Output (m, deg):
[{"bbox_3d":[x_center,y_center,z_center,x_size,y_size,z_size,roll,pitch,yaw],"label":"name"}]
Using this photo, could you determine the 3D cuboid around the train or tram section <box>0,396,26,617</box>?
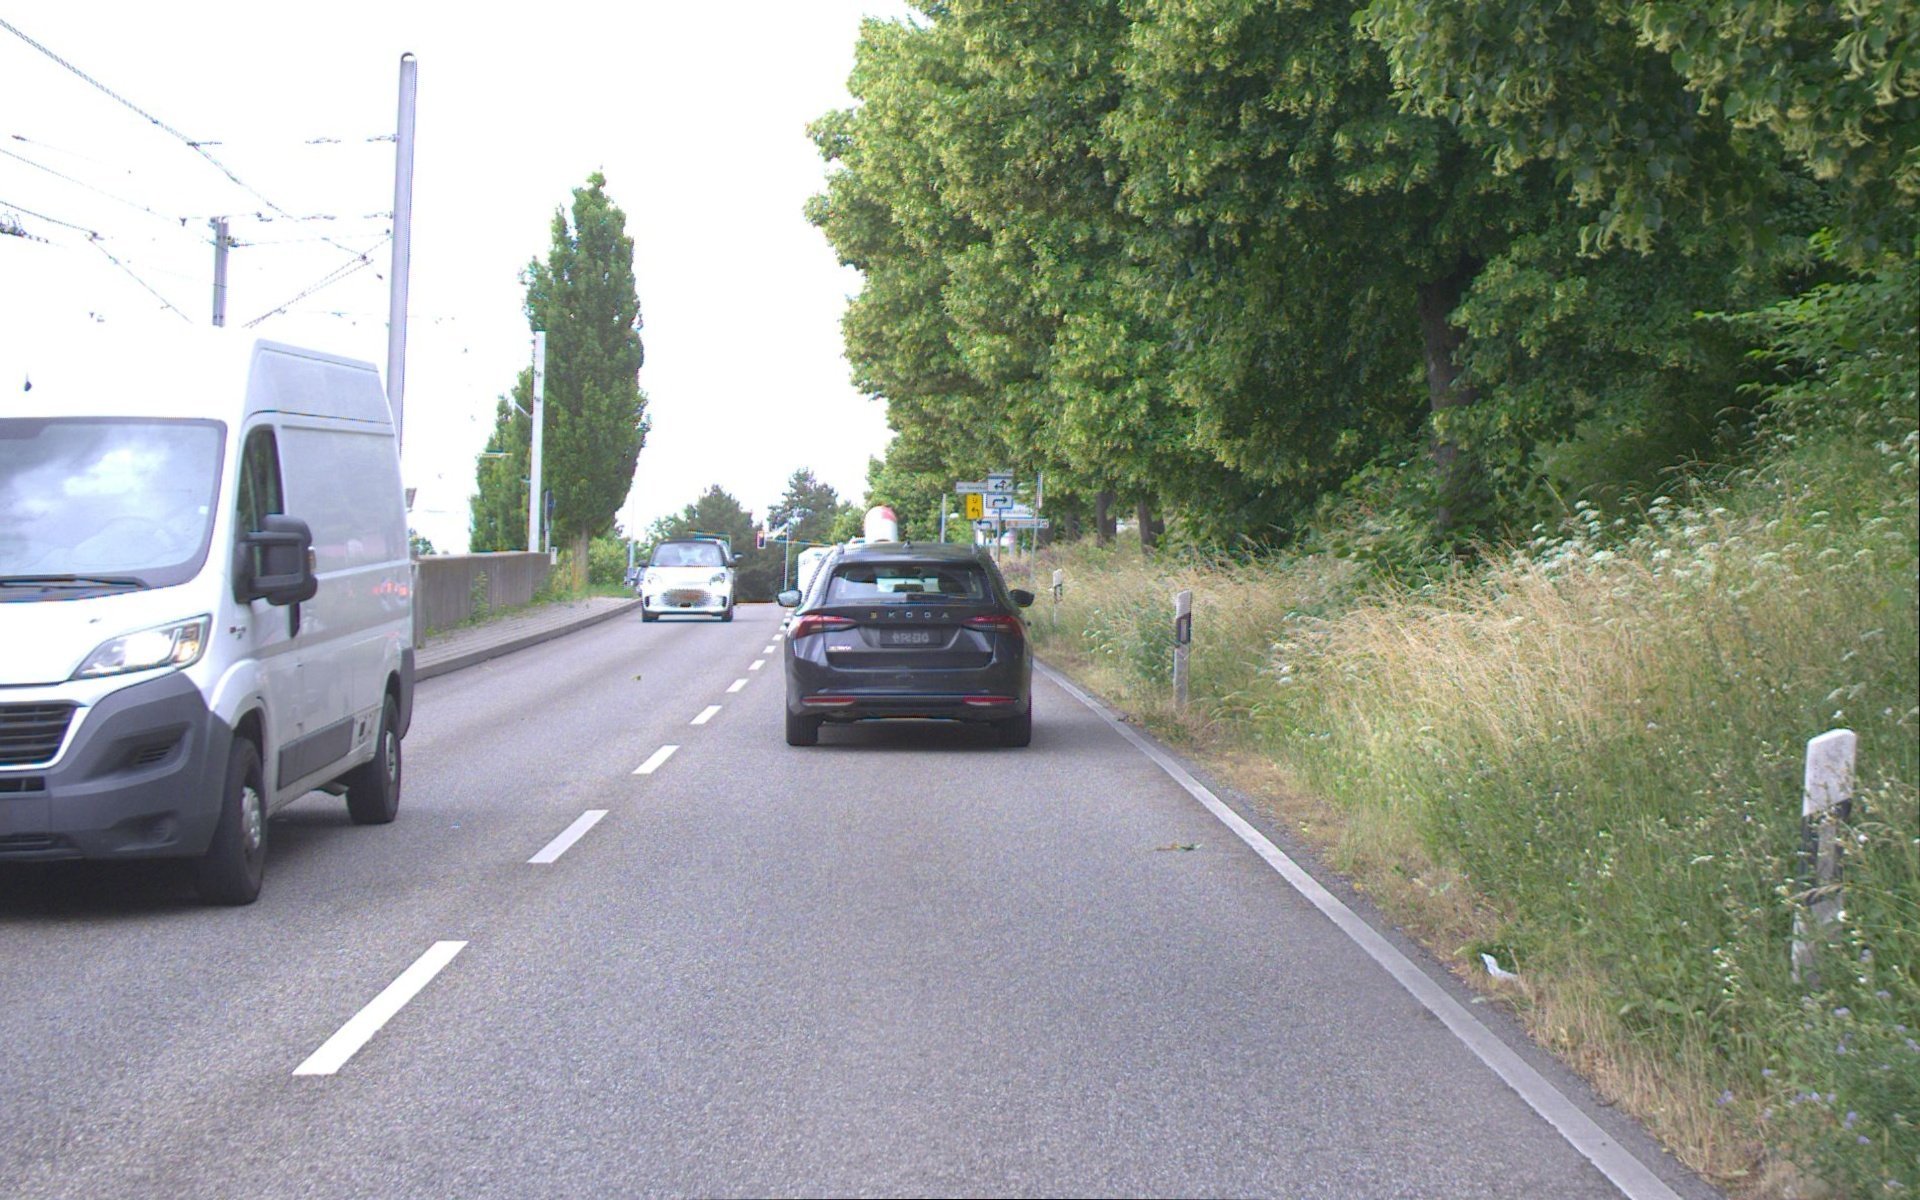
[{"bbox_3d":[-14.132,-1.249,40.074,2.803,3.066,19.105,0,0,-5],"label":"train or tram section"}]

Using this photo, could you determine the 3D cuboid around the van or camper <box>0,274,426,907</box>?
[{"bbox_3d":[-3.942,-0.094,16.030,2.082,2.388,6.138,0,1,-1],"label":"van or camper"}]

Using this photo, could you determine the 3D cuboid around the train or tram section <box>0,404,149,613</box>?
[{"bbox_3d":[-16.231,-1.379,58.994,2.800,3.015,19.313,0,0,-8],"label":"train or tram section"}]

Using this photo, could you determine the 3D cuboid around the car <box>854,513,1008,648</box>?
[{"bbox_3d":[-0.412,-0.290,46.640,1.993,1.747,4.000,0,1,-1],"label":"car"}]

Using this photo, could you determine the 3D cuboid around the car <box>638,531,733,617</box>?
[{"bbox_3d":[-5.248,-0.525,65.762,1.731,1.566,4.001,-1,1,-4],"label":"car"}]

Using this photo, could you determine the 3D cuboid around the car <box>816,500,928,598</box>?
[{"bbox_3d":[-1.600,-0.922,63.324,1.993,1.734,4.000,0,0,-1],"label":"car"}]

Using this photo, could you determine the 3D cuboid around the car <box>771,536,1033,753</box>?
[{"bbox_3d":[-0.426,0.267,25.390,1.781,1.463,4.000,0,1,-1],"label":"car"}]
